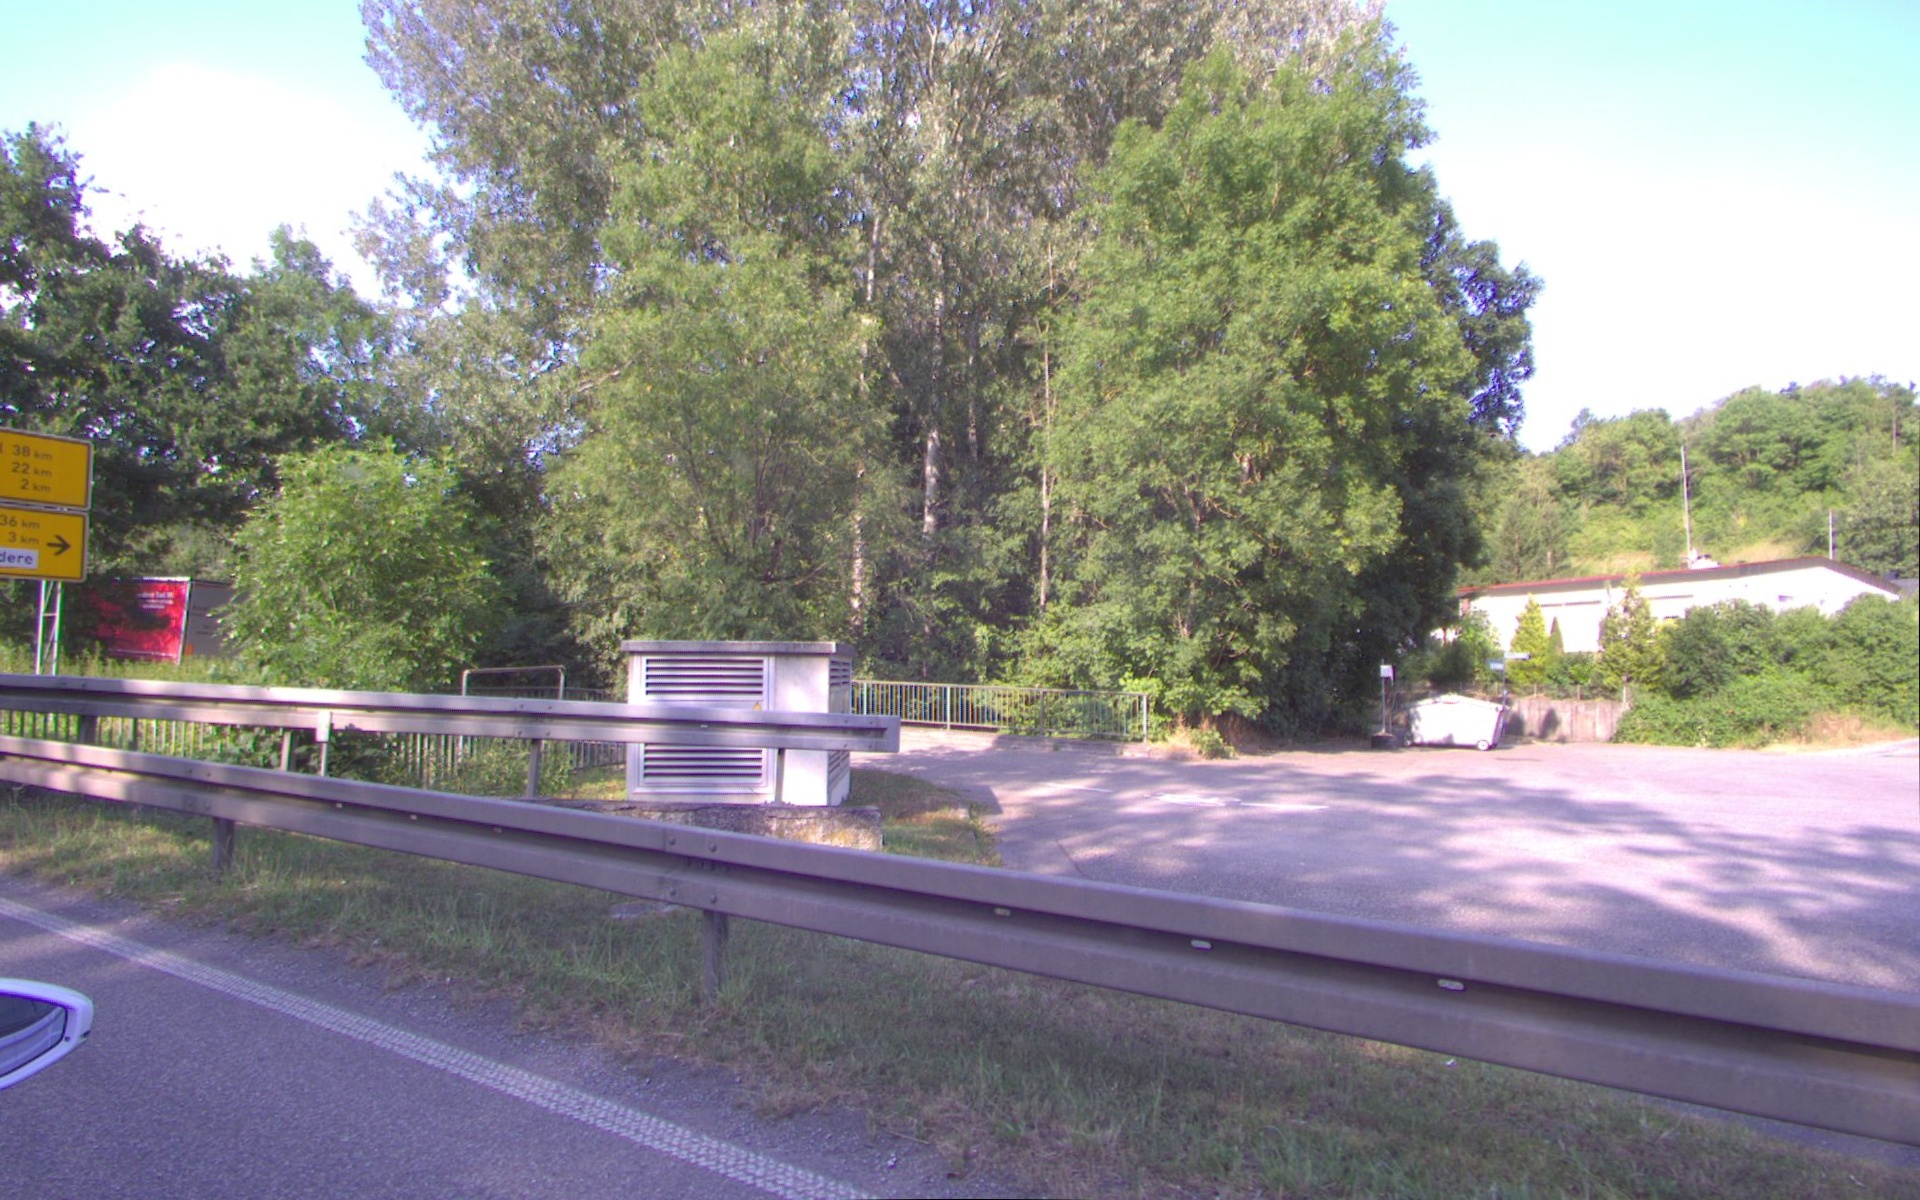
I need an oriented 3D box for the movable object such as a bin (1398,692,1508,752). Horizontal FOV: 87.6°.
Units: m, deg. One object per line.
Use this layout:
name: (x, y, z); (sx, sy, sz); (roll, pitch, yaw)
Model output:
movable object such as a bin: (13.125, 3.223, 26.666); (2.521, 1.436, 1.265); (-1, -6, 32)
